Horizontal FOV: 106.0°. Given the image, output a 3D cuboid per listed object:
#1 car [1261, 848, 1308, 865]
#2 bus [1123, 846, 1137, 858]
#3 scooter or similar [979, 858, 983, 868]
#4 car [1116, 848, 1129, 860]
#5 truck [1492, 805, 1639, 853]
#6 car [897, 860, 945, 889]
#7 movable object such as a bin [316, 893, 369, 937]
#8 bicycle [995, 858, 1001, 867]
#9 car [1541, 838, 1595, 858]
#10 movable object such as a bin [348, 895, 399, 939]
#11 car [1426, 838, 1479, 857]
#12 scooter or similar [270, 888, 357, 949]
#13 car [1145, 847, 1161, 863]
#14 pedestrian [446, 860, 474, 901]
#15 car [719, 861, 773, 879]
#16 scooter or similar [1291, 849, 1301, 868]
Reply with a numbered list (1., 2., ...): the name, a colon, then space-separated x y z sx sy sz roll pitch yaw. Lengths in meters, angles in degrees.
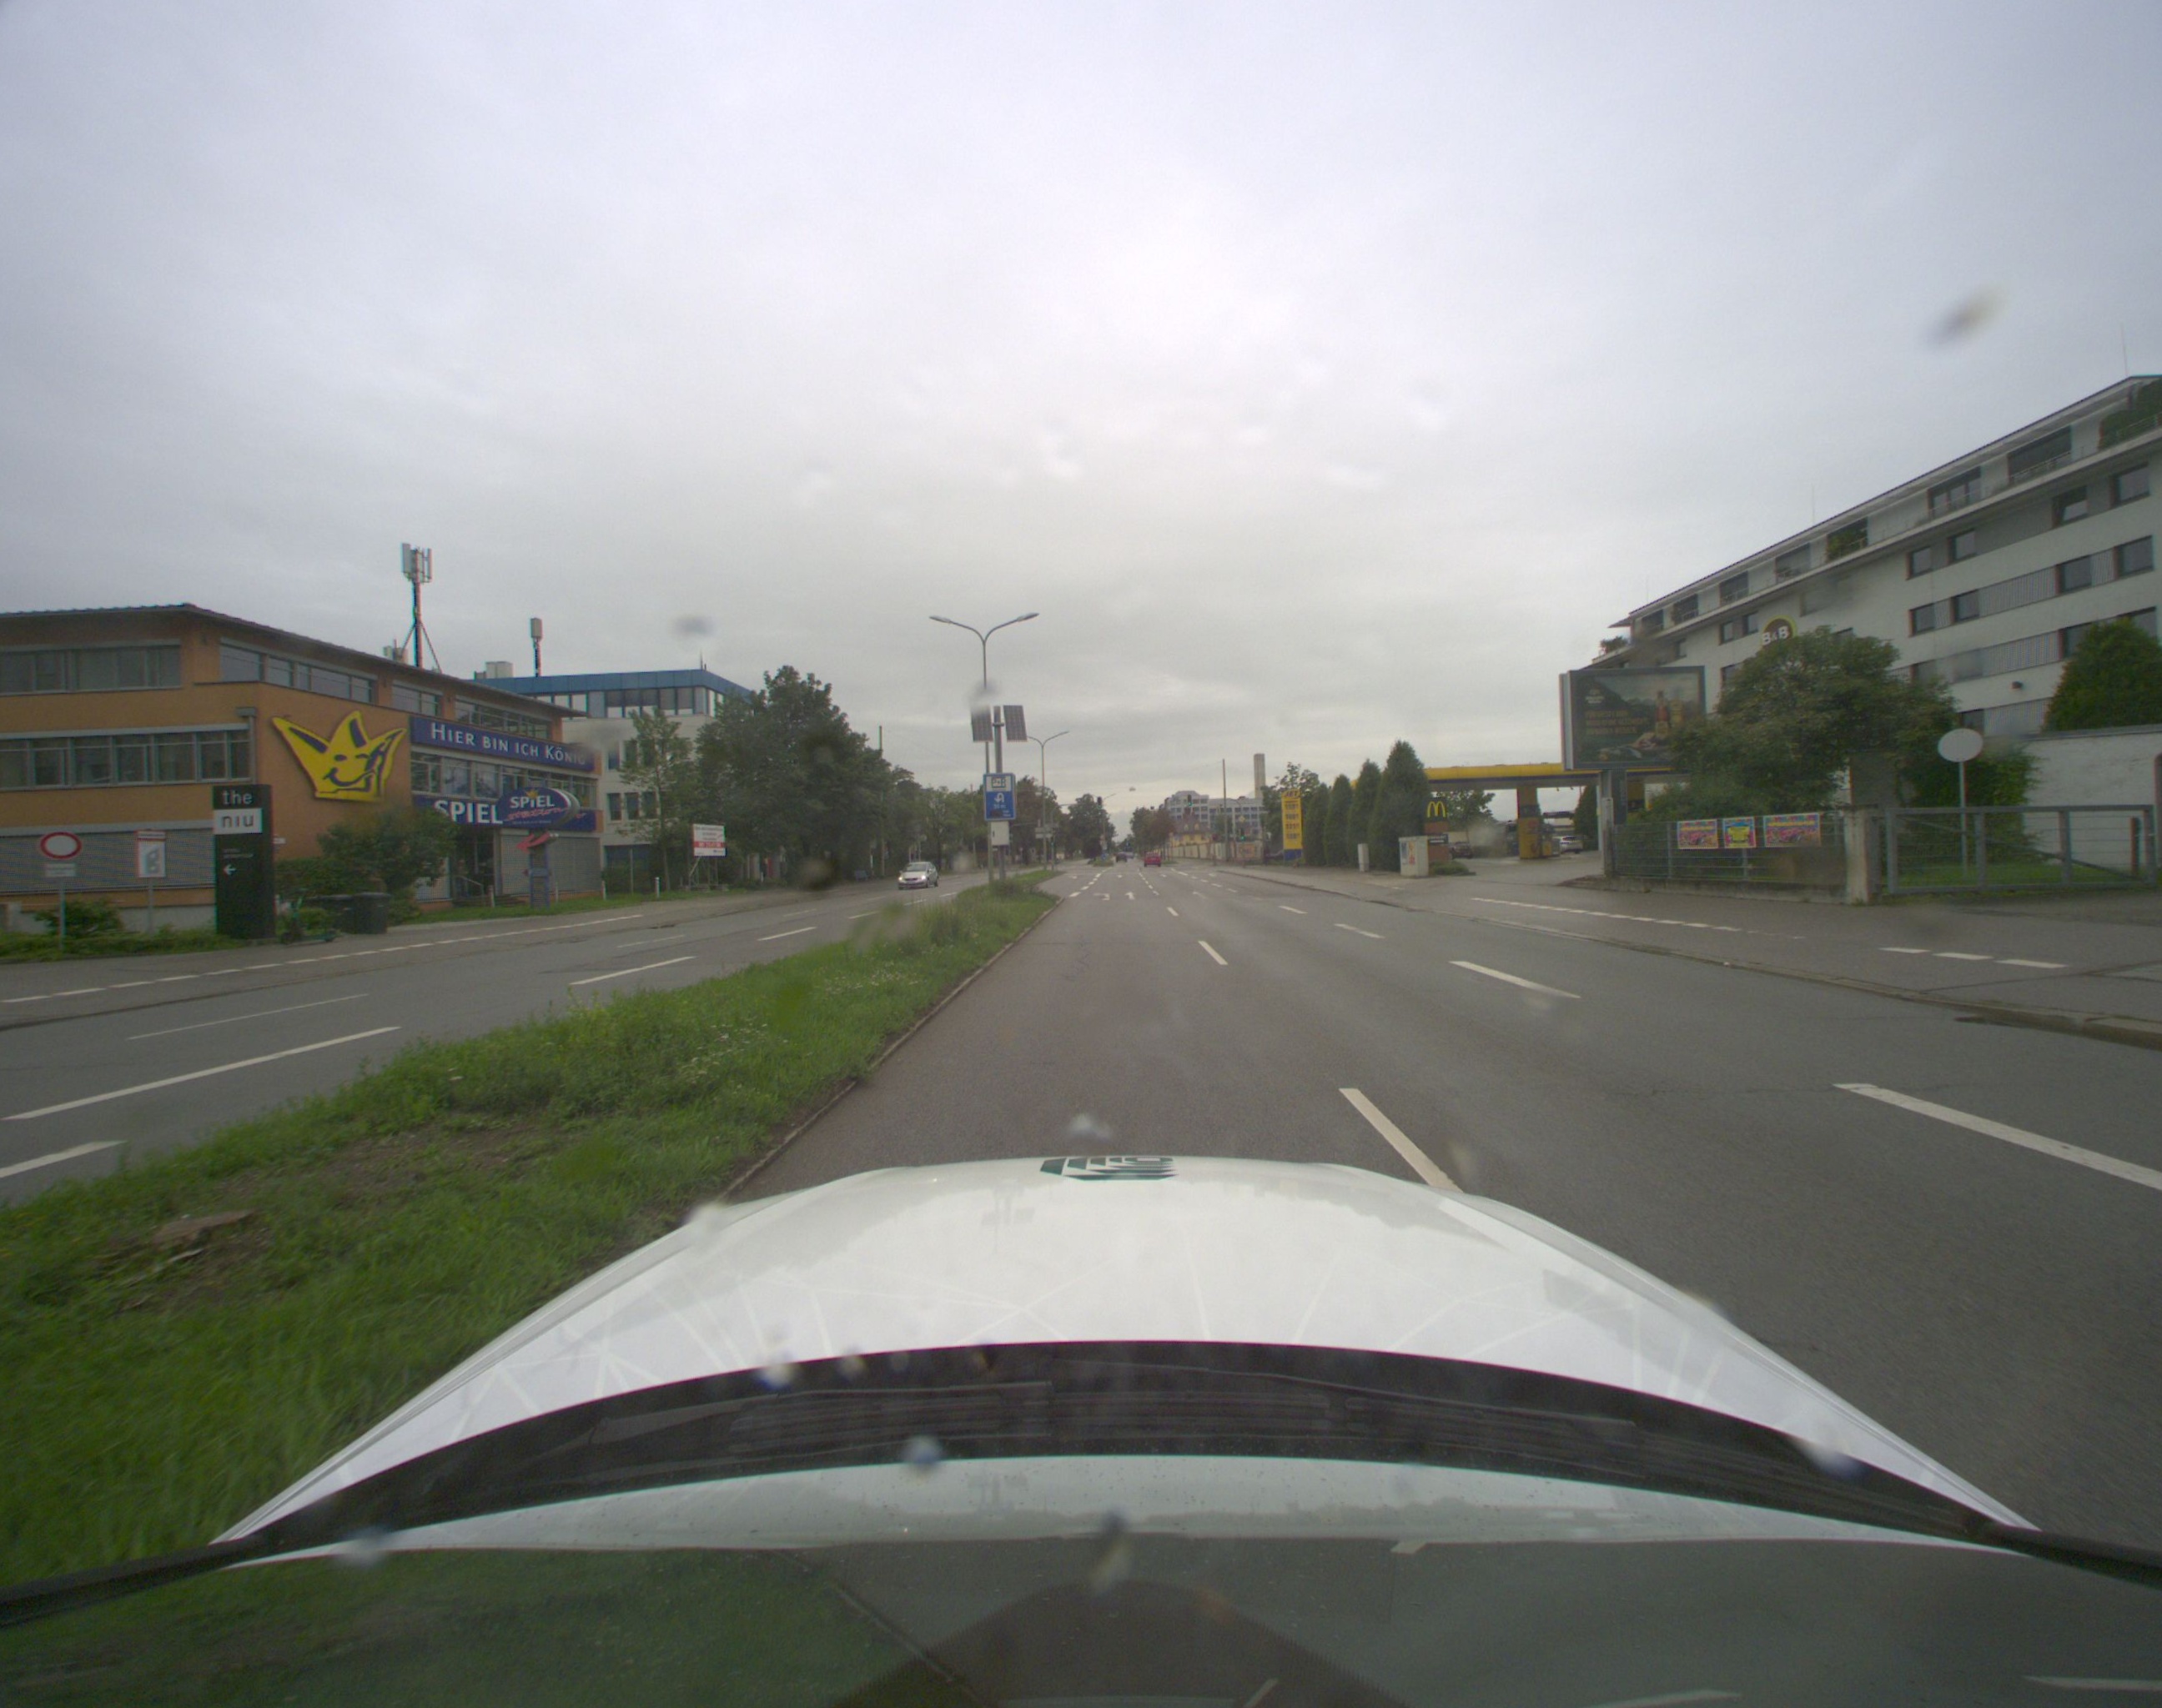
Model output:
1. car: 20.071 0.252 80.606 4.230 1.428 2.003 -3 0 5
2. bus: 13.316 -0.475 221.188 3.209 3.127 10.347 -1 0 1
3. scooter or similar: -13.429 1.205 109.878 0.370 1.424 1.399 -1 0 -13
4. car: 7.118 0.015 141.101 2.076 1.866 4.387 -1 0 1
5. truck: 45.363 -2.328 76.523 11.841 3.855 2.613 -3 0 4
6. car: -9.687 1.192 49.467 1.806 1.557 4.030 -3 0 4
7. movable object such as a bin: -18.952 1.554 20.916 0.734 1.078 0.656 -1 0 2
8. bicycle: -13.138 1.344 129.210 0.580 1.296 2.454 -1 0 0
9. car: 38.694 -0.483 64.791 1.895 1.478 4.195 -1 0 2
10. movable object such as a bin: -18.149 1.604 20.901 0.734 1.078 0.656 -1 0 2
11. car: 29.119 -0.512 63.991 1.697 1.384 4.352 -1 0 -8
12. scooter or similar: -17.685 1.467 18.799 0.583 1.277 1.405 2 0 3
13. car: 7.965 0.160 90.259 1.479 1.715 3.552 -1 0 1
14. pedestrian: -26.309 1.108 34.507 0.655 1.712 0.663 -1 0 2
15. car: -29.502 1.407 71.800 4.129 1.418 1.879 -1 0 19
16. scooter or similar: 14.414 0.273 54.631 0.354 1.242 1.548 -5 -1 7
